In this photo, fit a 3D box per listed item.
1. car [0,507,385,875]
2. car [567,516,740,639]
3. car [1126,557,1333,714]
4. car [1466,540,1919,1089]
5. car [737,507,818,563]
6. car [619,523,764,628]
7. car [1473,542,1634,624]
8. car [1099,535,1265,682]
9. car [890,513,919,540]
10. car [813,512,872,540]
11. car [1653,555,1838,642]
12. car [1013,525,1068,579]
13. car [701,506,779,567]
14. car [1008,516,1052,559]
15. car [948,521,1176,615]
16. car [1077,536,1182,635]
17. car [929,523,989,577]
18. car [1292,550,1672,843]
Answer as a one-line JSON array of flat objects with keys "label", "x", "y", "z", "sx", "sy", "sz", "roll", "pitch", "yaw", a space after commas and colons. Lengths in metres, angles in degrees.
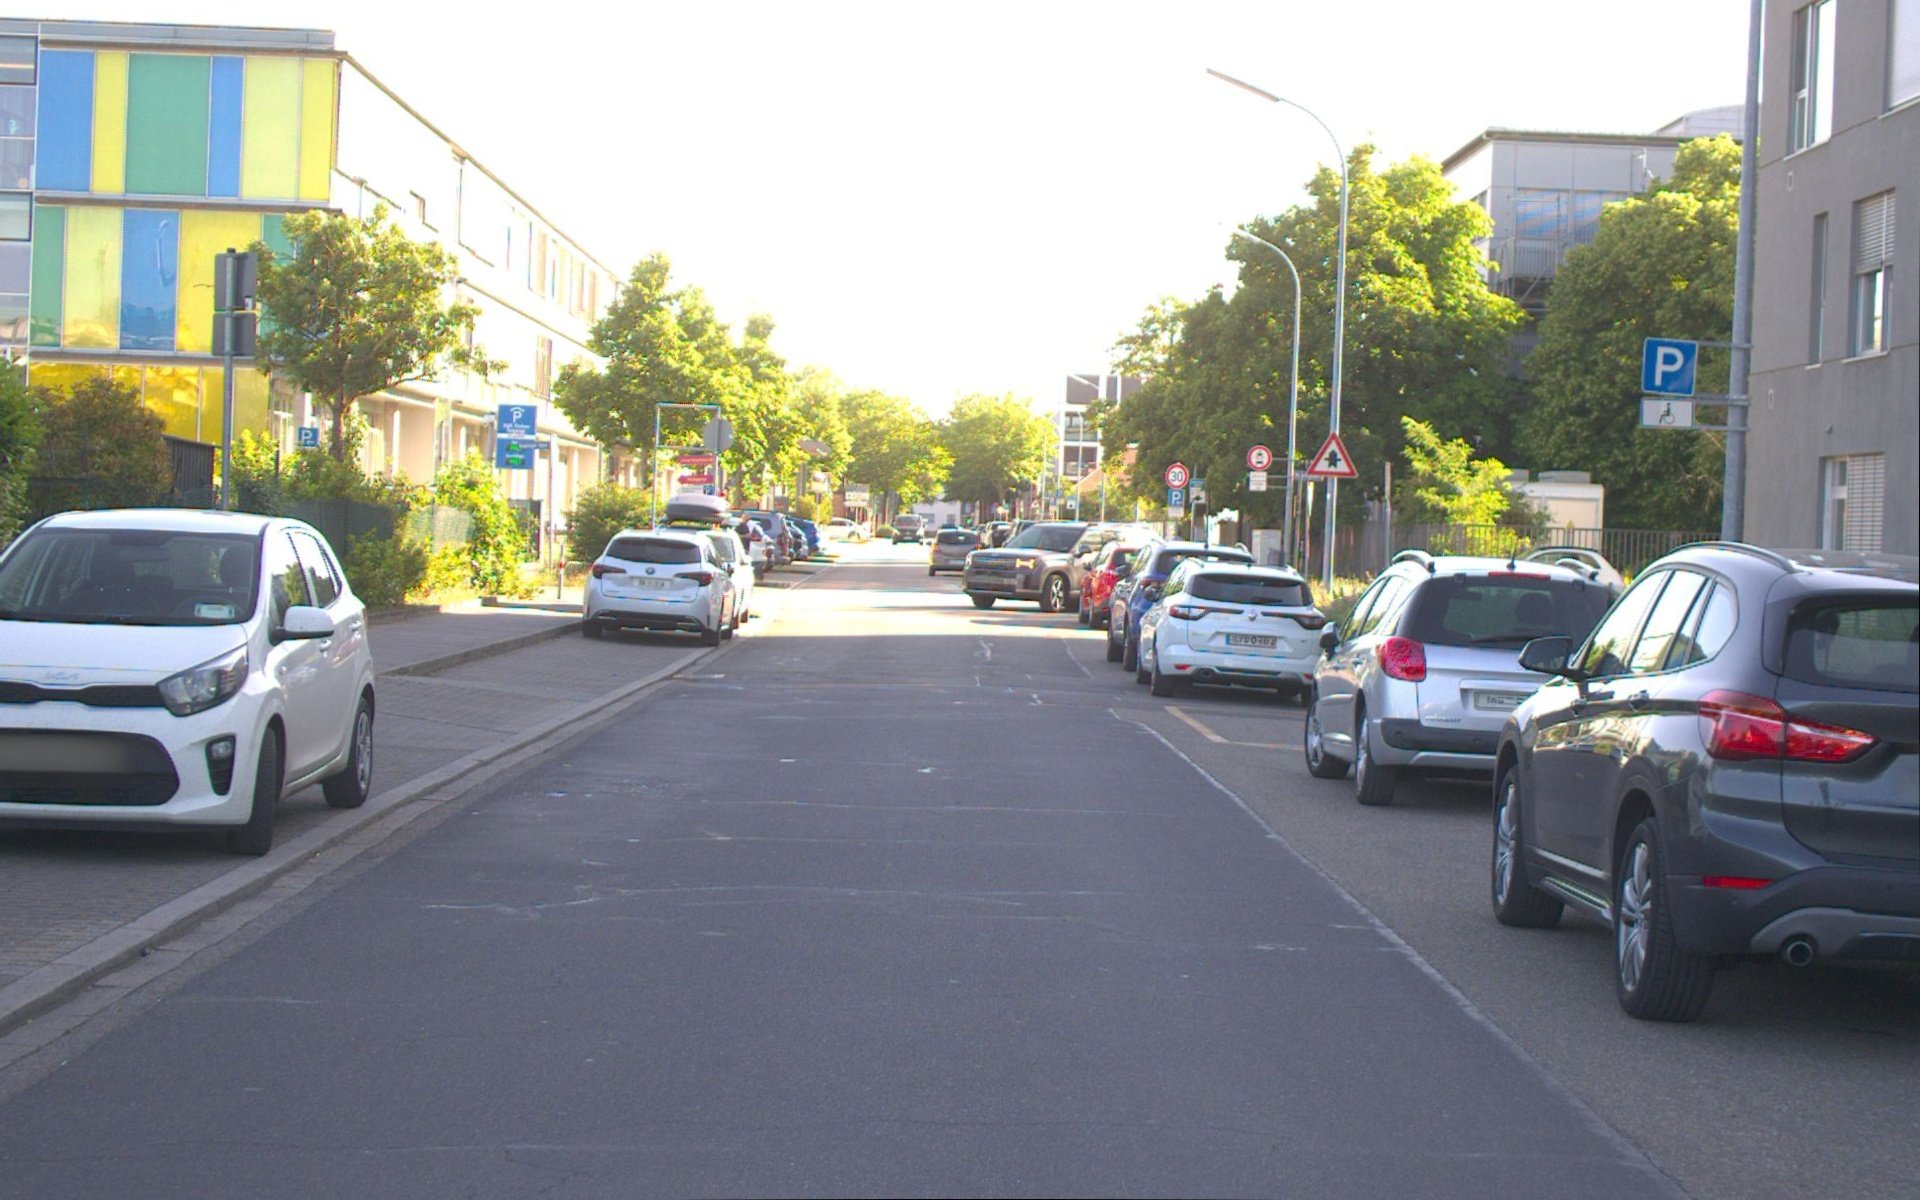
[{"label": "car", "x": -3.791, "y": 0.332, "z": 16.107, "sx": 1.559, "sy": 1.489, "sz": 3.759, "roll": 2, "pitch": 1, "yaw": -1}, {"label": "car", "x": -3.991, "y": -0.320, "z": 45.325, "sx": 1.854, "sy": 1.423, "sz": 4.134, "roll": 4, "pitch": 1, "yaw": -1}, {"label": "car", "x": 2.801, "y": 0.327, "z": 36.513, "sx": 1.742, "sy": 1.423, "sz": 4.134, "roll": 4, "pitch": 1, "yaw": -1}, {"label": "car", "x": 3.104, "y": 0.653, "z": 12.574, "sx": 1.742, "sy": 1.619, "sz": 4.179, "roll": 4, "pitch": 1, "yaw": -1}, {"label": "car", "x": -5.540, "y": -1.964, "z": 105.033, "sx": 1.855, "sy": 1.558, "sz": 4.133, "roll": 4, "pitch": 1, "yaw": 4}, {"label": "car", "x": -4.069, "y": -0.402, "z": 52.637, "sx": 1.854, "sy": 1.423, "sz": 4.134, "roll": 4, "pitch": 1, "yaw": -1}, {"label": "car", "x": 12.984, "y": -0.378, "z": 75.305, "sx": 3.216, "sy": 1.544, "sz": 1.450, "roll": 4, "pitch": 1, "yaw": 3}, {"label": "car", "x": 2.699, "y": 0.066, "z": 42.519, "sx": 1.632, "sy": 1.625, "sz": 3.614, "roll": 4, "pitch": 1, "yaw": -1}, {"label": "car", "x": -3.448, "y": -4.535, "z": 212.662, "sx": 1.664, "sy": 1.544, "sz": 3.902, "roll": 4, "pitch": 1, "yaw": -1}, {"label": "car", "x": -7.532, "y": -4.726, "z": 219.969, "sx": 3.601, "sy": 1.544, "sz": 1.450, "roll": 4, "pitch": 1, "yaw": -5}, {"label": "car", "x": 15.326, "y": -0.031, "z": 67.198, "sx": 3.216, "sy": 1.455, "sz": 1.450, "roll": 4, "pitch": 1, "yaw": 3}, {"label": "car", "x": 2.506, "y": -1.506, "z": 107.134, "sx": 1.445, "sy": 1.544, "sz": 3.614, "roll": 4, "pitch": 1, "yaw": -1}, {"label": "car", "x": -6.173, "y": -1.778, "z": 96.762, "sx": 1.854, "sy": 1.558, "sz": 4.134, "roll": 4, "pitch": 1, "yaw": -1}, {"label": "car", "x": 2.699, "y": -2.413, "z": 132.535, "sx": 1.445, "sy": 1.544, "sz": 3.614, "roll": 4, "pitch": 1, "yaw": -1}, {"label": "car", "x": 1.992, "y": -0.605, "z": 66.532, "sx": 4.181, "sy": 1.541, "sz": 1.849, "roll": 3, "pitch": 1, "yaw": -41}, {"label": "car", "x": 2.875, "y": -0.275, "z": 58.928, "sx": 1.445, "sy": 1.544, "sz": 3.614, "roll": 4, "pitch": 1, "yaw": -1}, {"label": "car", "x": -0.055, "y": -1.586, "z": 107.748, "sx": 1.689, "sy": 1.544, "sz": 3.614, "roll": 4, "pitch": 1, "yaw": -1}, {"label": "car", "x": 3.168, "y": 0.522, "z": 21.568, "sx": 1.657, "sy": 1.546, "sz": 3.851, "roll": 4, "pitch": 1, "yaw": -1}]
